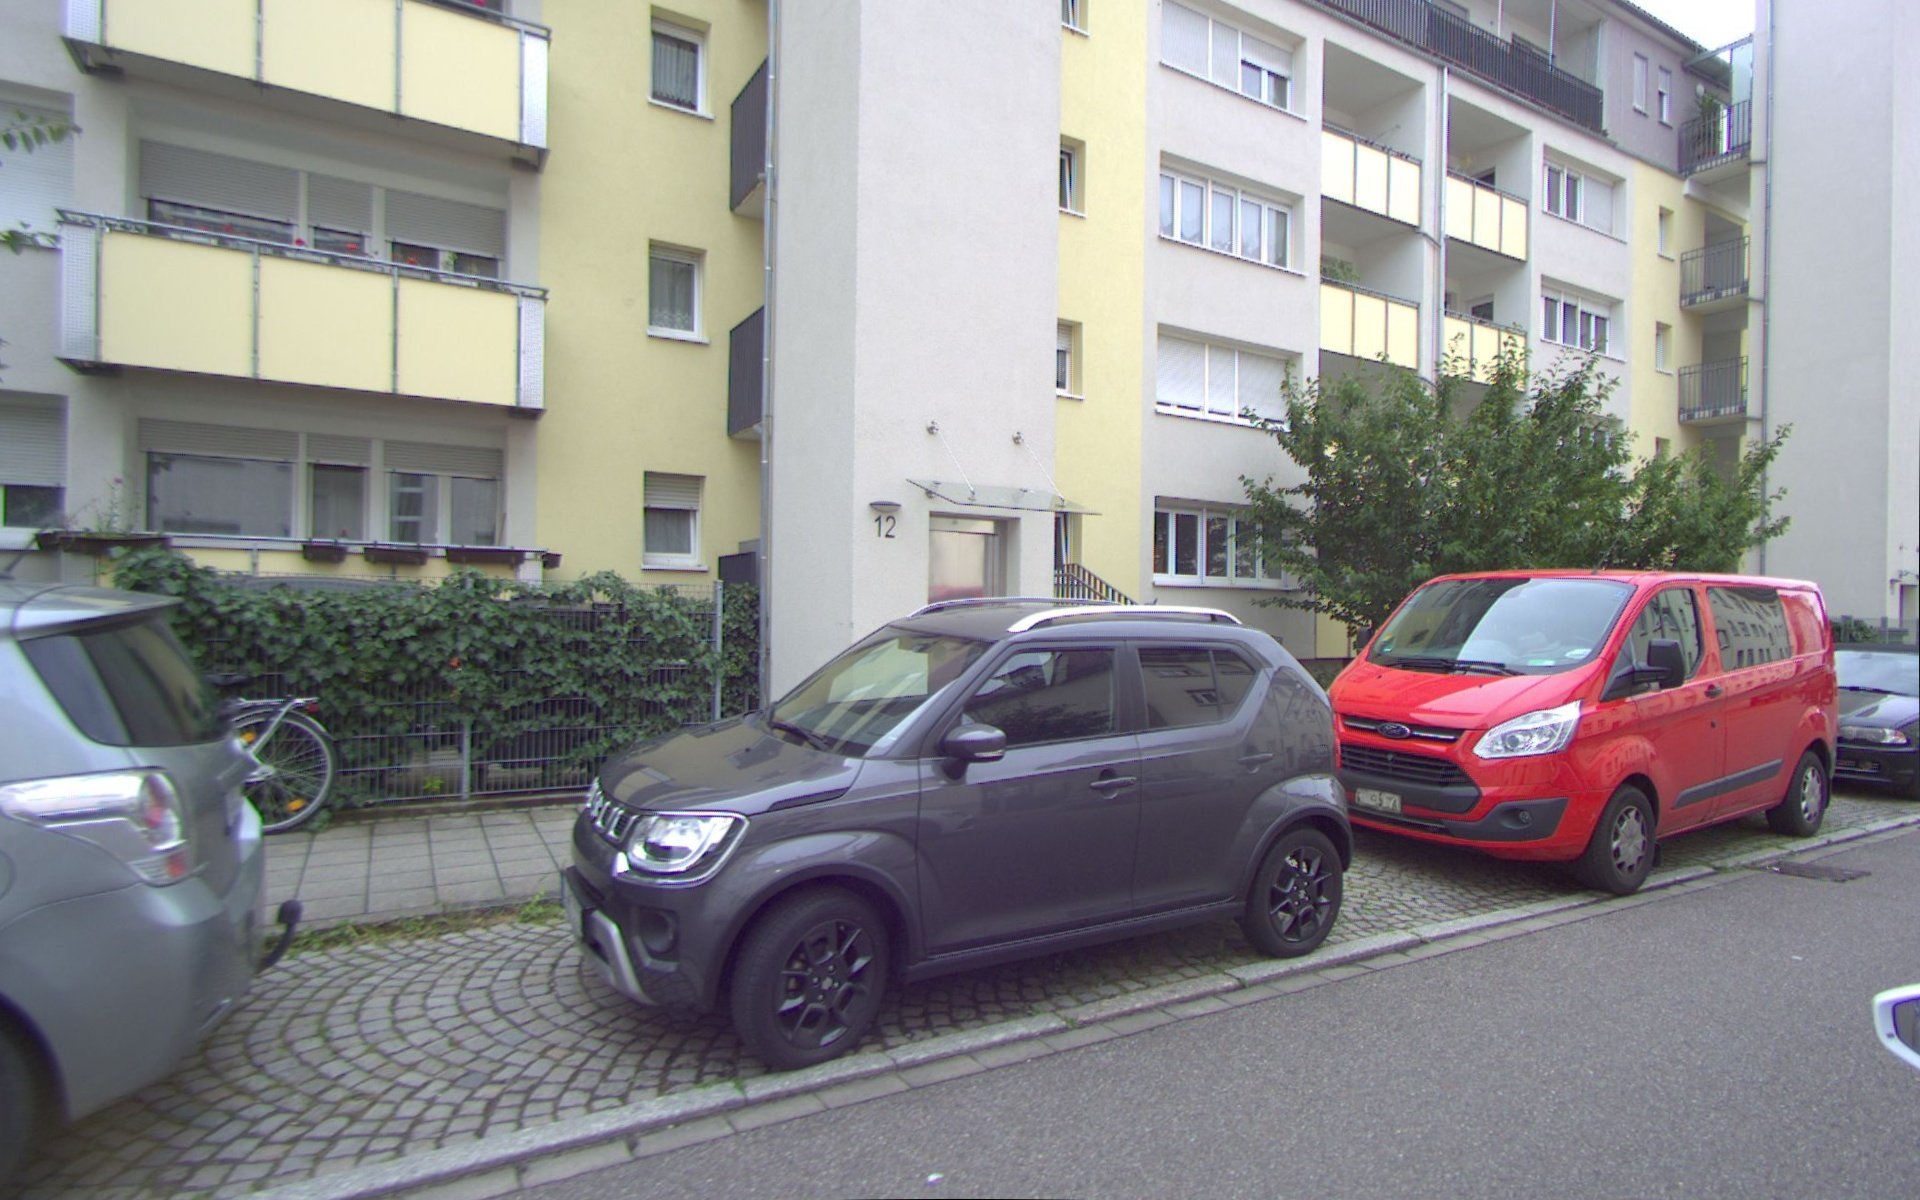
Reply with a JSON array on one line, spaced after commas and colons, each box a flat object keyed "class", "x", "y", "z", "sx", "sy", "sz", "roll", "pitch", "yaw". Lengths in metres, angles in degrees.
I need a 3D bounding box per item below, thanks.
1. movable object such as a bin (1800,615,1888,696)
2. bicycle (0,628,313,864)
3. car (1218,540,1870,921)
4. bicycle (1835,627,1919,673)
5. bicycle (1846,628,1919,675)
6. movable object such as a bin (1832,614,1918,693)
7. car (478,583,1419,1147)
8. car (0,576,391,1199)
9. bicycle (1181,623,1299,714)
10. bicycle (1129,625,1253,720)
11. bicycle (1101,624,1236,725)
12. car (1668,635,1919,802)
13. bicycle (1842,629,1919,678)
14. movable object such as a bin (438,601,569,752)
[{"class": "movable object such as a bin", "x": 16.474, "y": 1.018, "z": 18.722, "sx": 1.272, "sy": 1.448, "sz": 0.800, "roll": 1, "pitch": 1, "yaw": -28}, {"class": "bicycle", "x": -4.706, "y": 0.765, "z": 5.680, "sx": 1.712, "sy": 1.207, "sz": 0.547, "roll": 1, "pitch": -1, "yaw": -38}, {"class": "car", "x": 4.444, "y": 0.687, "z": 7.428, "sx": 4.868, "sy": 1.980, "sz": 2.139, "roll": 1, "pitch": 1, "yaw": -33}, {"class": "bicycle", "x": 24.458, "y": 1.305, "z": 26.492, "sx": 0.616, "sy": 1.157, "sz": 2.011, "roll": 1, "pitch": 0, "yaw": -33}, {"class": "bicycle", "x": 23.971, "y": 1.302, "z": 25.594, "sx": 0.618, "sy": 1.157, "sz": 2.006, "roll": 1, "pitch": 0, "yaw": -39}, {"class": "movable object such as a bin", "x": 17.619, "y": 1.016, "z": 19.350, "sx": 1.271, "sy": 1.448, "sz": 0.801, "roll": 1, "pitch": 1, "yaw": -27}, {"class": "car", "x": 0.068, "y": 0.782, "z": 4.627, "sx": 4.006, "sy": 1.591, "sz": 1.712, "roll": 1, "pitch": 1, "yaw": -30}, {"class": "car", "x": -4.102, "y": 0.717, "z": 2.284, "sx": 4.809, "sy": 1.591, "sz": 1.824, "roll": 1, "pitch": 1, "yaw": -33}, {"class": "bicycle", "x": 3.852, "y": 0.908, "z": 13.963, "sx": 0.562, "sy": 1.133, "sz": 1.830, "roll": 1, "pitch": 0, "yaw": -23}, {"class": "bicycle", "x": 3.048, "y": 0.929, "z": 13.424, "sx": 0.563, "sy": 1.133, "sz": 1.827, "roll": 1, "pitch": 0, "yaw": -28}, {"class": "bicycle", "x": 2.622, "y": 0.904, "z": 12.825, "sx": 0.598, "sy": 1.133, "sz": 1.825, "roll": 1, "pitch": 0, "yaw": -31}, {"class": "car", "x": 9.541, "y": 1.086, "z": 10.569, "sx": 4.312, "sy": 1.341, "sz": 1.860, "roll": 1, "pitch": 1, "yaw": -32}, {"class": "bicycle", "x": 23.500, "y": 1.339, "z": 25.173, "sx": 0.618, "sy": 1.157, "sz": 2.006, "roll": 1, "pitch": 0, "yaw": -39}, {"class": "movable object such as a bin", "x": -4.354, "y": 0.687, "z": 9.566, "sx": 1.025, "sy": 1.341, "sz": 0.888, "roll": 1, "pitch": -1, "yaw": -31}]
